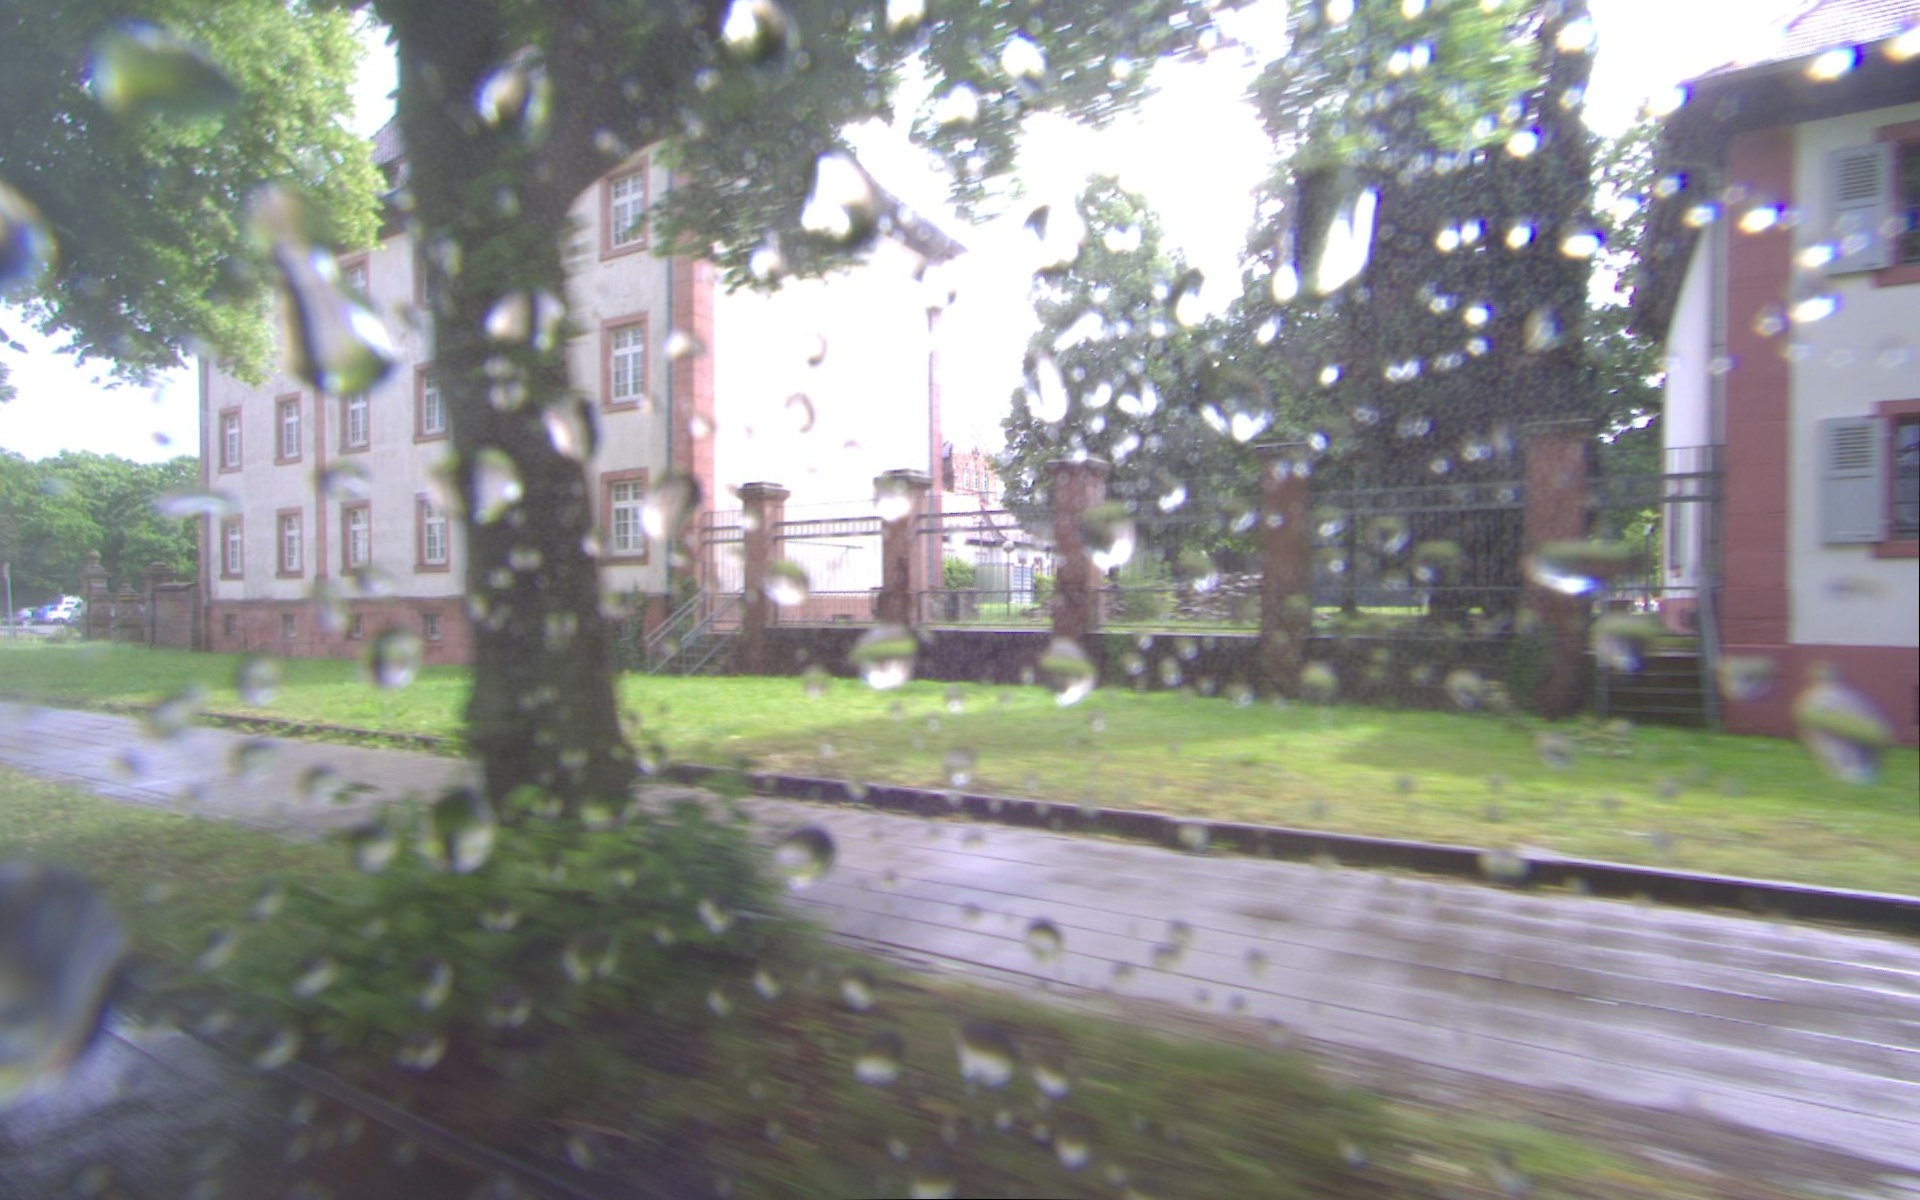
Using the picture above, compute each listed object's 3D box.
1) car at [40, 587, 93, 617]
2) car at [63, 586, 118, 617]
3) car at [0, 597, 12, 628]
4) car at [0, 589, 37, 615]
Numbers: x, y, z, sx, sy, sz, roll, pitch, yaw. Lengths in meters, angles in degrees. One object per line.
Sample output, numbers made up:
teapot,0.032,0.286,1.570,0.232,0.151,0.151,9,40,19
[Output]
car,-64.857,0.137,72.668,3.948,2.041,1.986,0,3,36
car,-60.655,0.078,69.855,3.948,2.041,1.986,0,3,36
car,-56.112,0.749,57.565,3.822,1.707,1.734,0,3,39
car,-70.471,0.142,74.555,3.760,1.882,1.860,0,3,36
